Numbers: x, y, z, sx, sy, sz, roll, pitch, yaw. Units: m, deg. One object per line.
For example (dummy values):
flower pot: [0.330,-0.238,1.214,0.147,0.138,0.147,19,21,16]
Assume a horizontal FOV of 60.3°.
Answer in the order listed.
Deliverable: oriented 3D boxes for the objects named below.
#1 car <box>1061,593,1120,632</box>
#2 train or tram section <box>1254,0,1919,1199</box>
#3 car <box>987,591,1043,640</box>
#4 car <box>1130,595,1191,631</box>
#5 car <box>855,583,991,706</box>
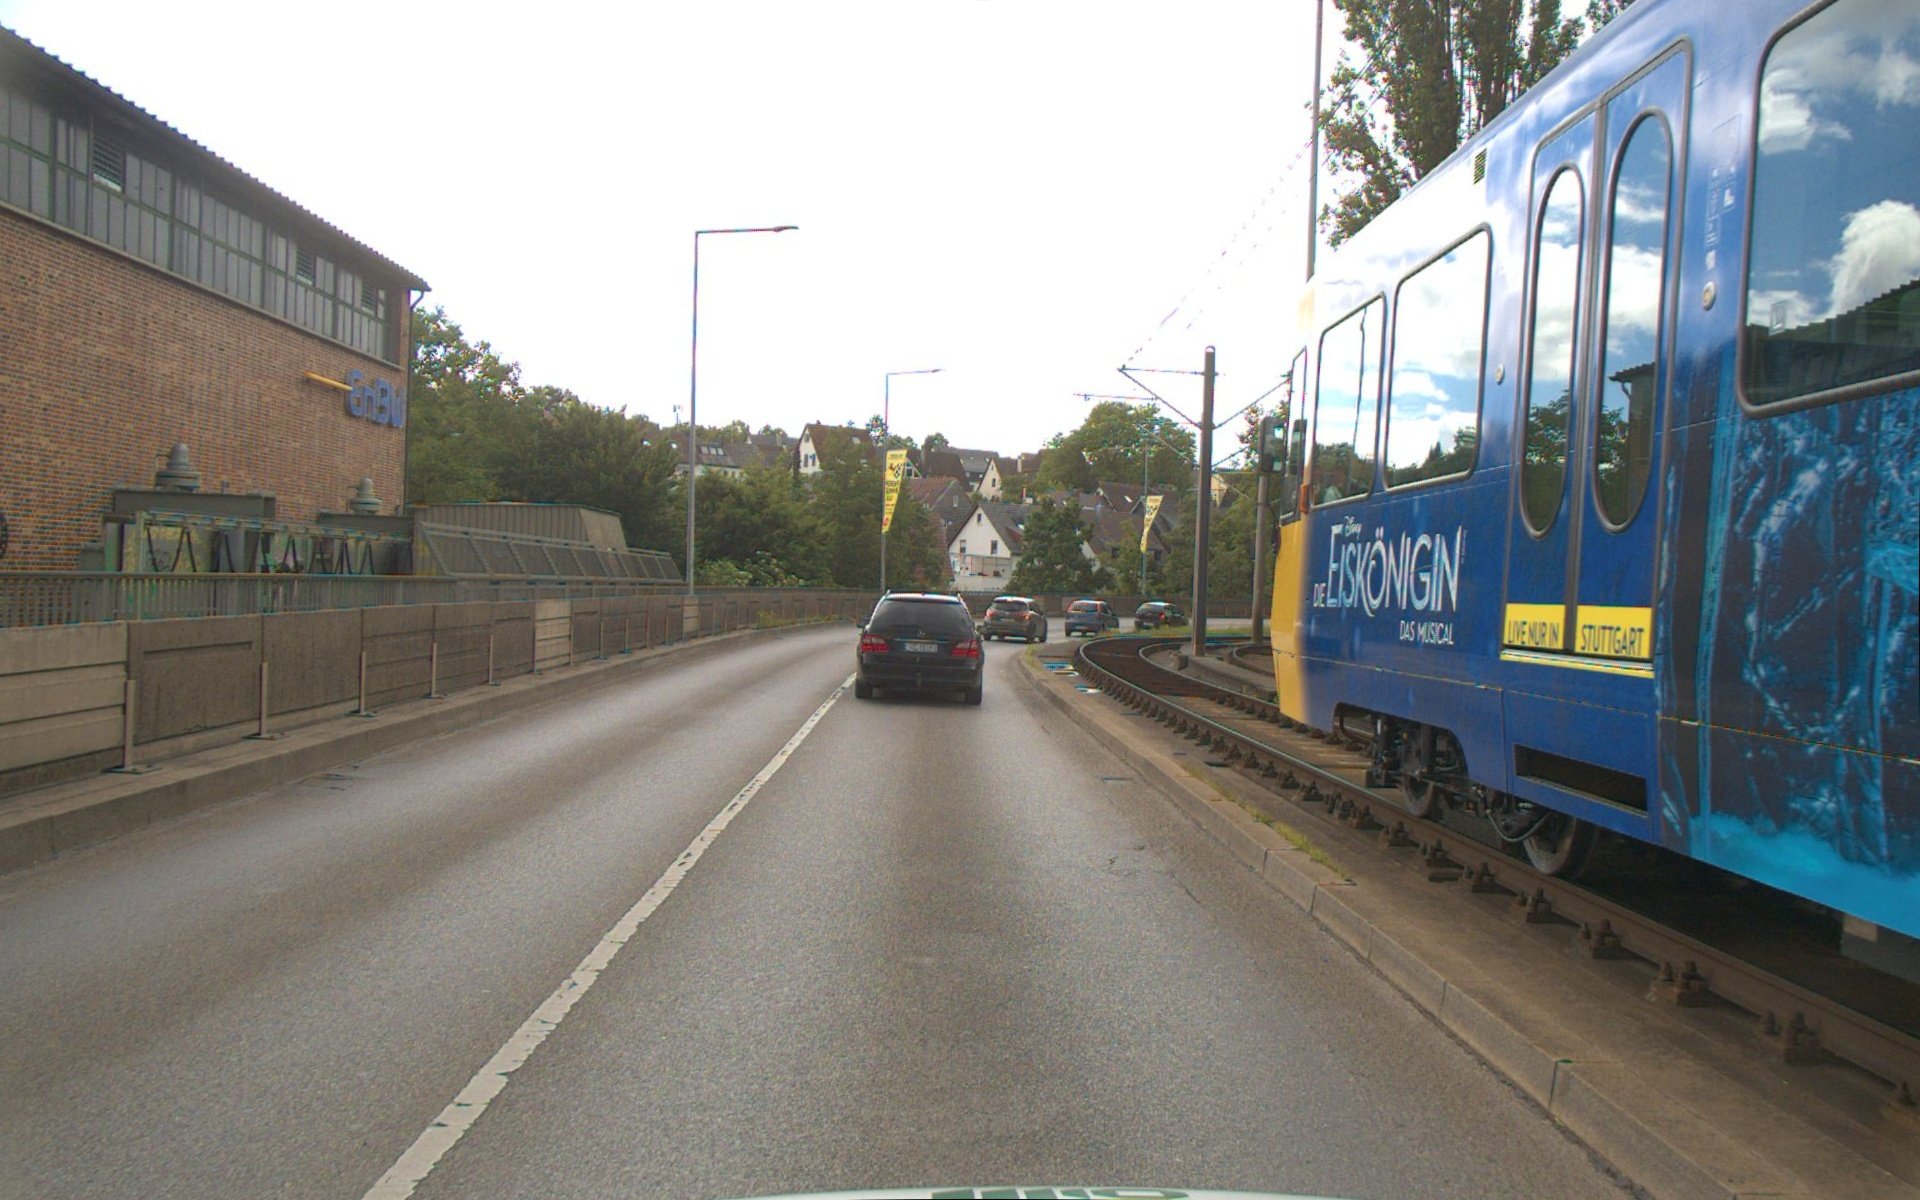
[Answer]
car: [5.559,0.510,70.023,1.754,1.582,4.389,1,0,14]
train or tram section: [3.723,-0.353,2.456,2.736,3.830,19.890,2,0,-1]
car: [1.969,0.509,58.039,1.733,1.582,4.243,1,1,5]
car: [9.480,0.607,77.911,1.734,1.582,4.239,2,0,22]
car: [-0.557,0.572,24.035,1.724,1.542,4.441,3,0,-2]
